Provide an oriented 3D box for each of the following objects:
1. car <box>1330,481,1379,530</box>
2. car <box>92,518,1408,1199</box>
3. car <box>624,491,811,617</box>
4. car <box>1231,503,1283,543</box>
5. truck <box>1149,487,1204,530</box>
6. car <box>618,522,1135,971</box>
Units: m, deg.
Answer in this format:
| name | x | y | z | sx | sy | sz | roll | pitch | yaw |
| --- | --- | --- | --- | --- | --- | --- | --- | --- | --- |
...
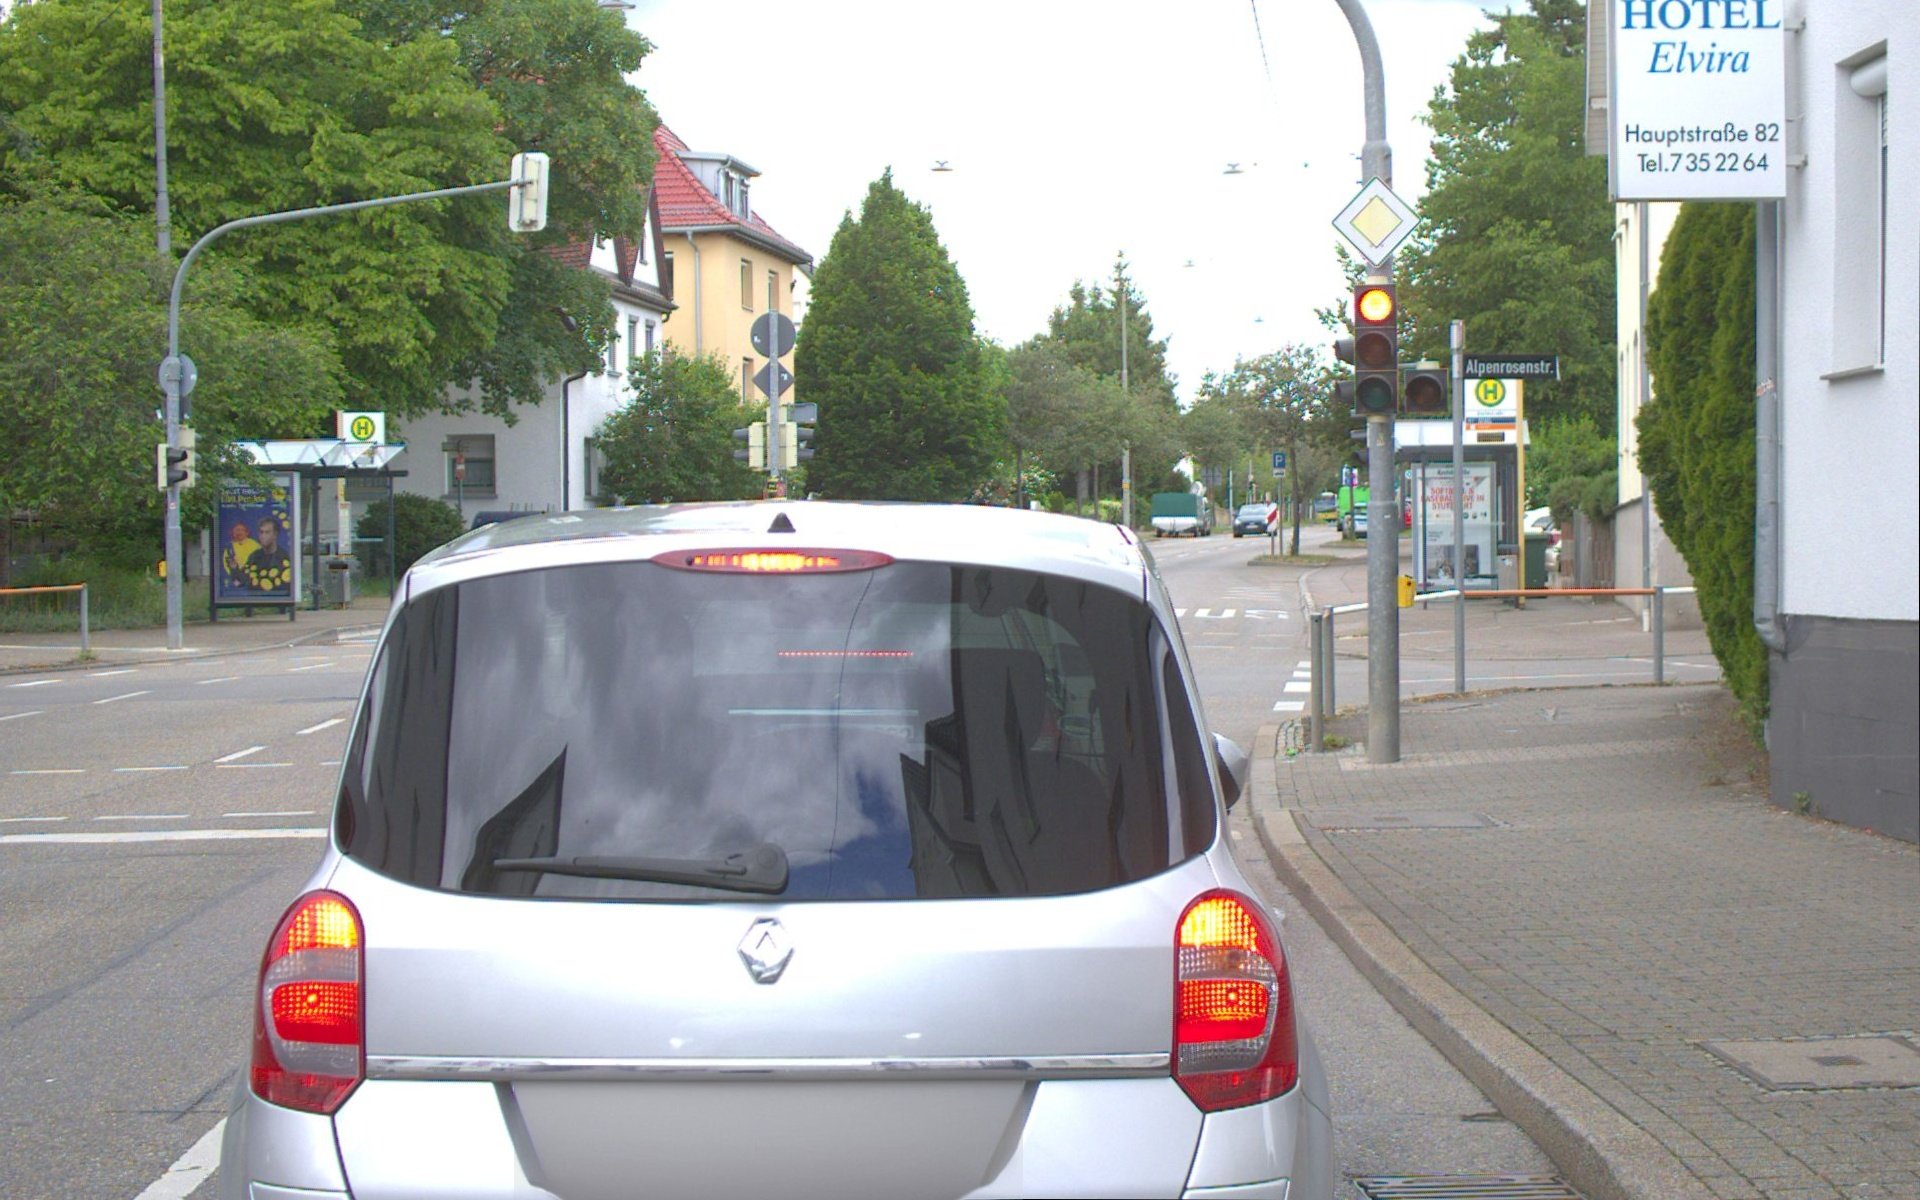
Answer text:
| name | x | y | z | sx | sy | sz | roll | pitch | yaw |
| --- | --- | --- | --- | --- | --- | --- | --- | --- | --- |
| car | 20.722 | -4.925 | 180.507 | 2.060 | 2.503 | 5.593 | 1 | 1 | 11 |
| car | -0.317 | 0.628 | 6.603 | 1.755 | 1.525 | 4.000 | 0 | 1 | -1 |
| car | -3.780 | -0.746 | 54.197 | 1.927 | 1.767 | 3.999 | -4 | 1 | 10 |
| car | 13.227 | -3.415 | 152.832 | 1.858 | 1.742 | 3.998 | 1 | 1 | 11 |
| truck | 10.509 | -4.426 | 166.510 | 2.102 | 2.007 | 5.745 | 1 | 1 | 9 |
| car | -0.318 | 0.473 | 13.640 | 1.755 | 1.525 | 3.797 | 0 | 1 | -1 |
